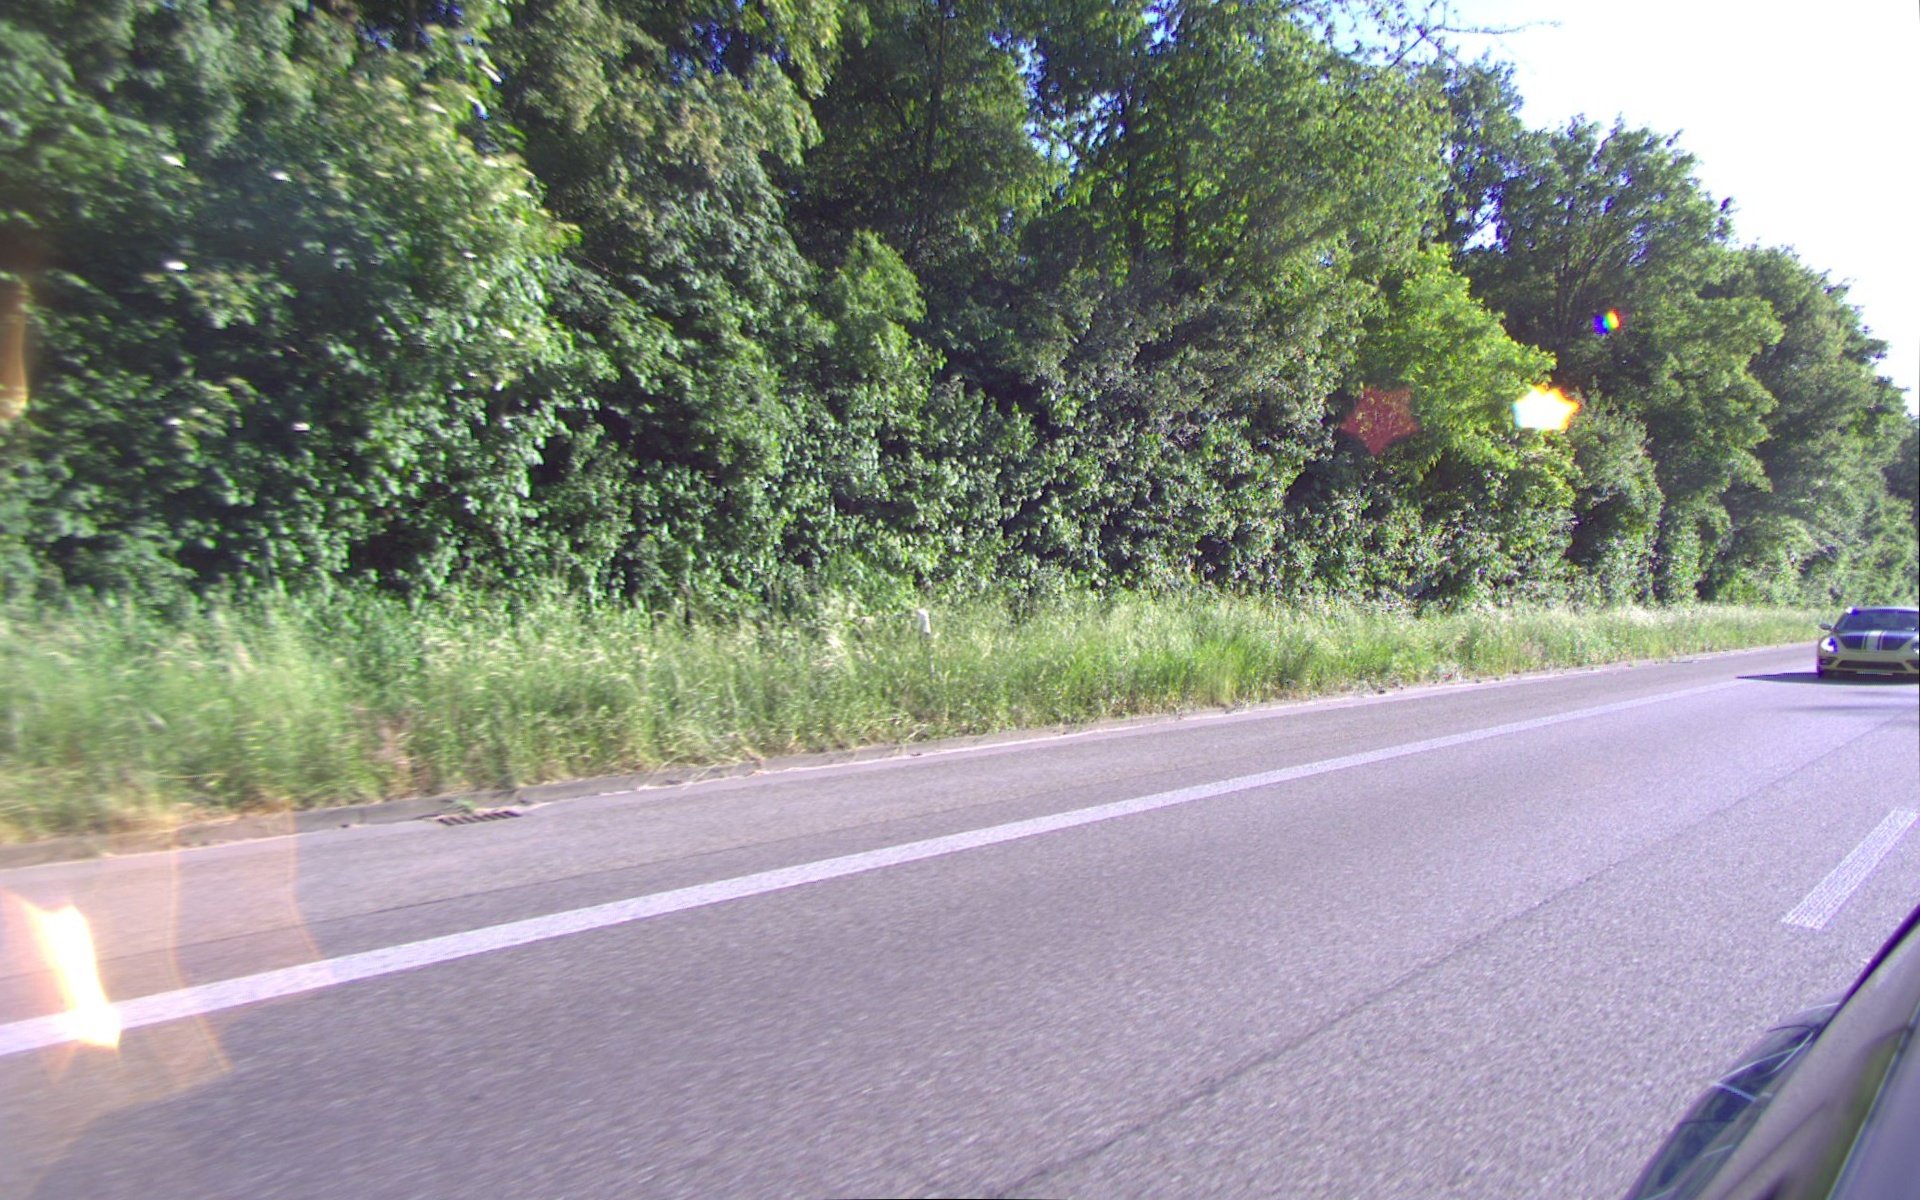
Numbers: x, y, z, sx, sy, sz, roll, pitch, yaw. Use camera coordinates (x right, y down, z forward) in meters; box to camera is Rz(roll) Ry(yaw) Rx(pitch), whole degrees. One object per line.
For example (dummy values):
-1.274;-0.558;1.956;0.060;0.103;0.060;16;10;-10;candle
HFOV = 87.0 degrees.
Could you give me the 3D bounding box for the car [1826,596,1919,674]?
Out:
19.296;0.666;20.805;3.811;1.467;1.793;0;0;-42;car
